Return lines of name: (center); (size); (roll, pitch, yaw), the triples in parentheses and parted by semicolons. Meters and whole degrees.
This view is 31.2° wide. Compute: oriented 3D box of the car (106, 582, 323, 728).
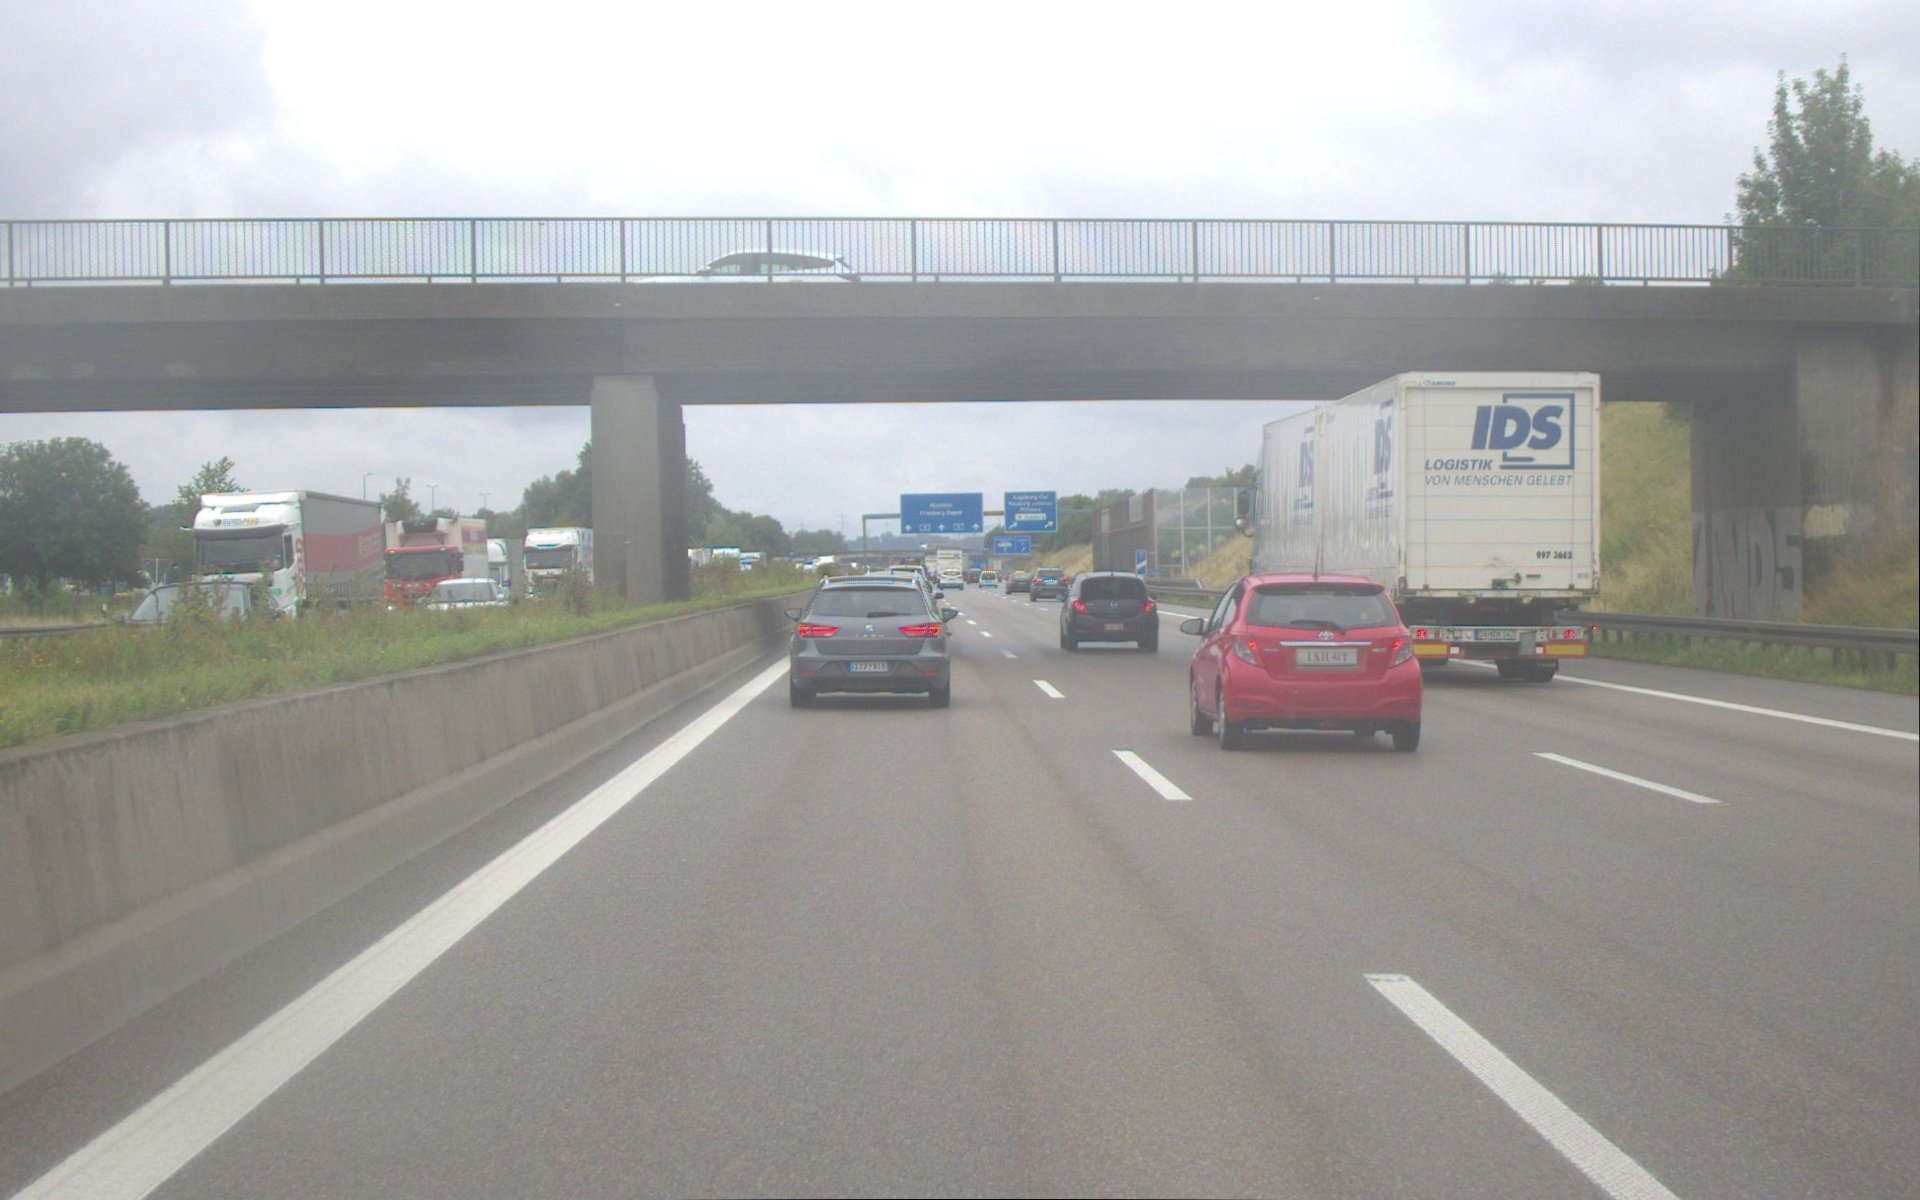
car: (-9.753, 0.696, 45.245); (1.993, 1.810, 4.000); (1, 0, -1)

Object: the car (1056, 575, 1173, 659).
car: (2.868, 0.296, 64.668); (1.921, 1.516, 4.622); (0, 1, -1)

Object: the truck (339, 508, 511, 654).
truck: (-19.225, -0.636, 124.734); (4.033, 4.927, 14.434); (1, 0, -1)

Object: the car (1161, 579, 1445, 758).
car: (2.933, 0.545, 30.349); (1.891, 1.442, 4.685); (0, 1, -2)

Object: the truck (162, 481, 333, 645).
truck: (-18.247, -0.913, 88.361); (3.272, 4.031, 5.292); (1, 0, -1)

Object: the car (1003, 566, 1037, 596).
car: (3.795, -1.211, 217.114); (1.993, 1.806, 4.228); (-2, 1, -1)

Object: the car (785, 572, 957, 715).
car: (-0.979, 0.456, 37.997); (1.768, 1.462, 4.000); (1, 0, -1)

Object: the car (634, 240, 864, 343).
car: (-3.953, -5.738, 64.107); (3.986, 1.612, 1.880); (1, 0, -14)

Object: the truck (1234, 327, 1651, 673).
truck: (6.812, -1.242, 52.632); (3.283, 4.280, 19.033); (1, 0, -1)

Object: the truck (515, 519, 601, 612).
truck: (-19.346, -1.602, 165.833); (2.977, 4.304, 9.669); (1, 0, 0)

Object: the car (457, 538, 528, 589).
car: (-19.003, -1.464, 139.956); (2.156, 2.007, 5.238); (1, 0, 0)

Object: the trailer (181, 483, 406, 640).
trailer: (-18.381, -0.988, 96.136); (3.323, 3.965, 15.745); (1, 0, -1)

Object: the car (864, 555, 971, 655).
car: (-0.839, 0.074, 67.946); (1.993, 1.854, 4.000); (-2, 1, -1)

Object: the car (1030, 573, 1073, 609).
car: (4.467, -0.429, 168.164); (1.845, 1.681, 4.000); (1, 0, -2)

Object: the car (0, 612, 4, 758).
car: (-13.509, 1.116, 43.346); (1.785, 2.007, 4.000); (-2, 1, -1)
